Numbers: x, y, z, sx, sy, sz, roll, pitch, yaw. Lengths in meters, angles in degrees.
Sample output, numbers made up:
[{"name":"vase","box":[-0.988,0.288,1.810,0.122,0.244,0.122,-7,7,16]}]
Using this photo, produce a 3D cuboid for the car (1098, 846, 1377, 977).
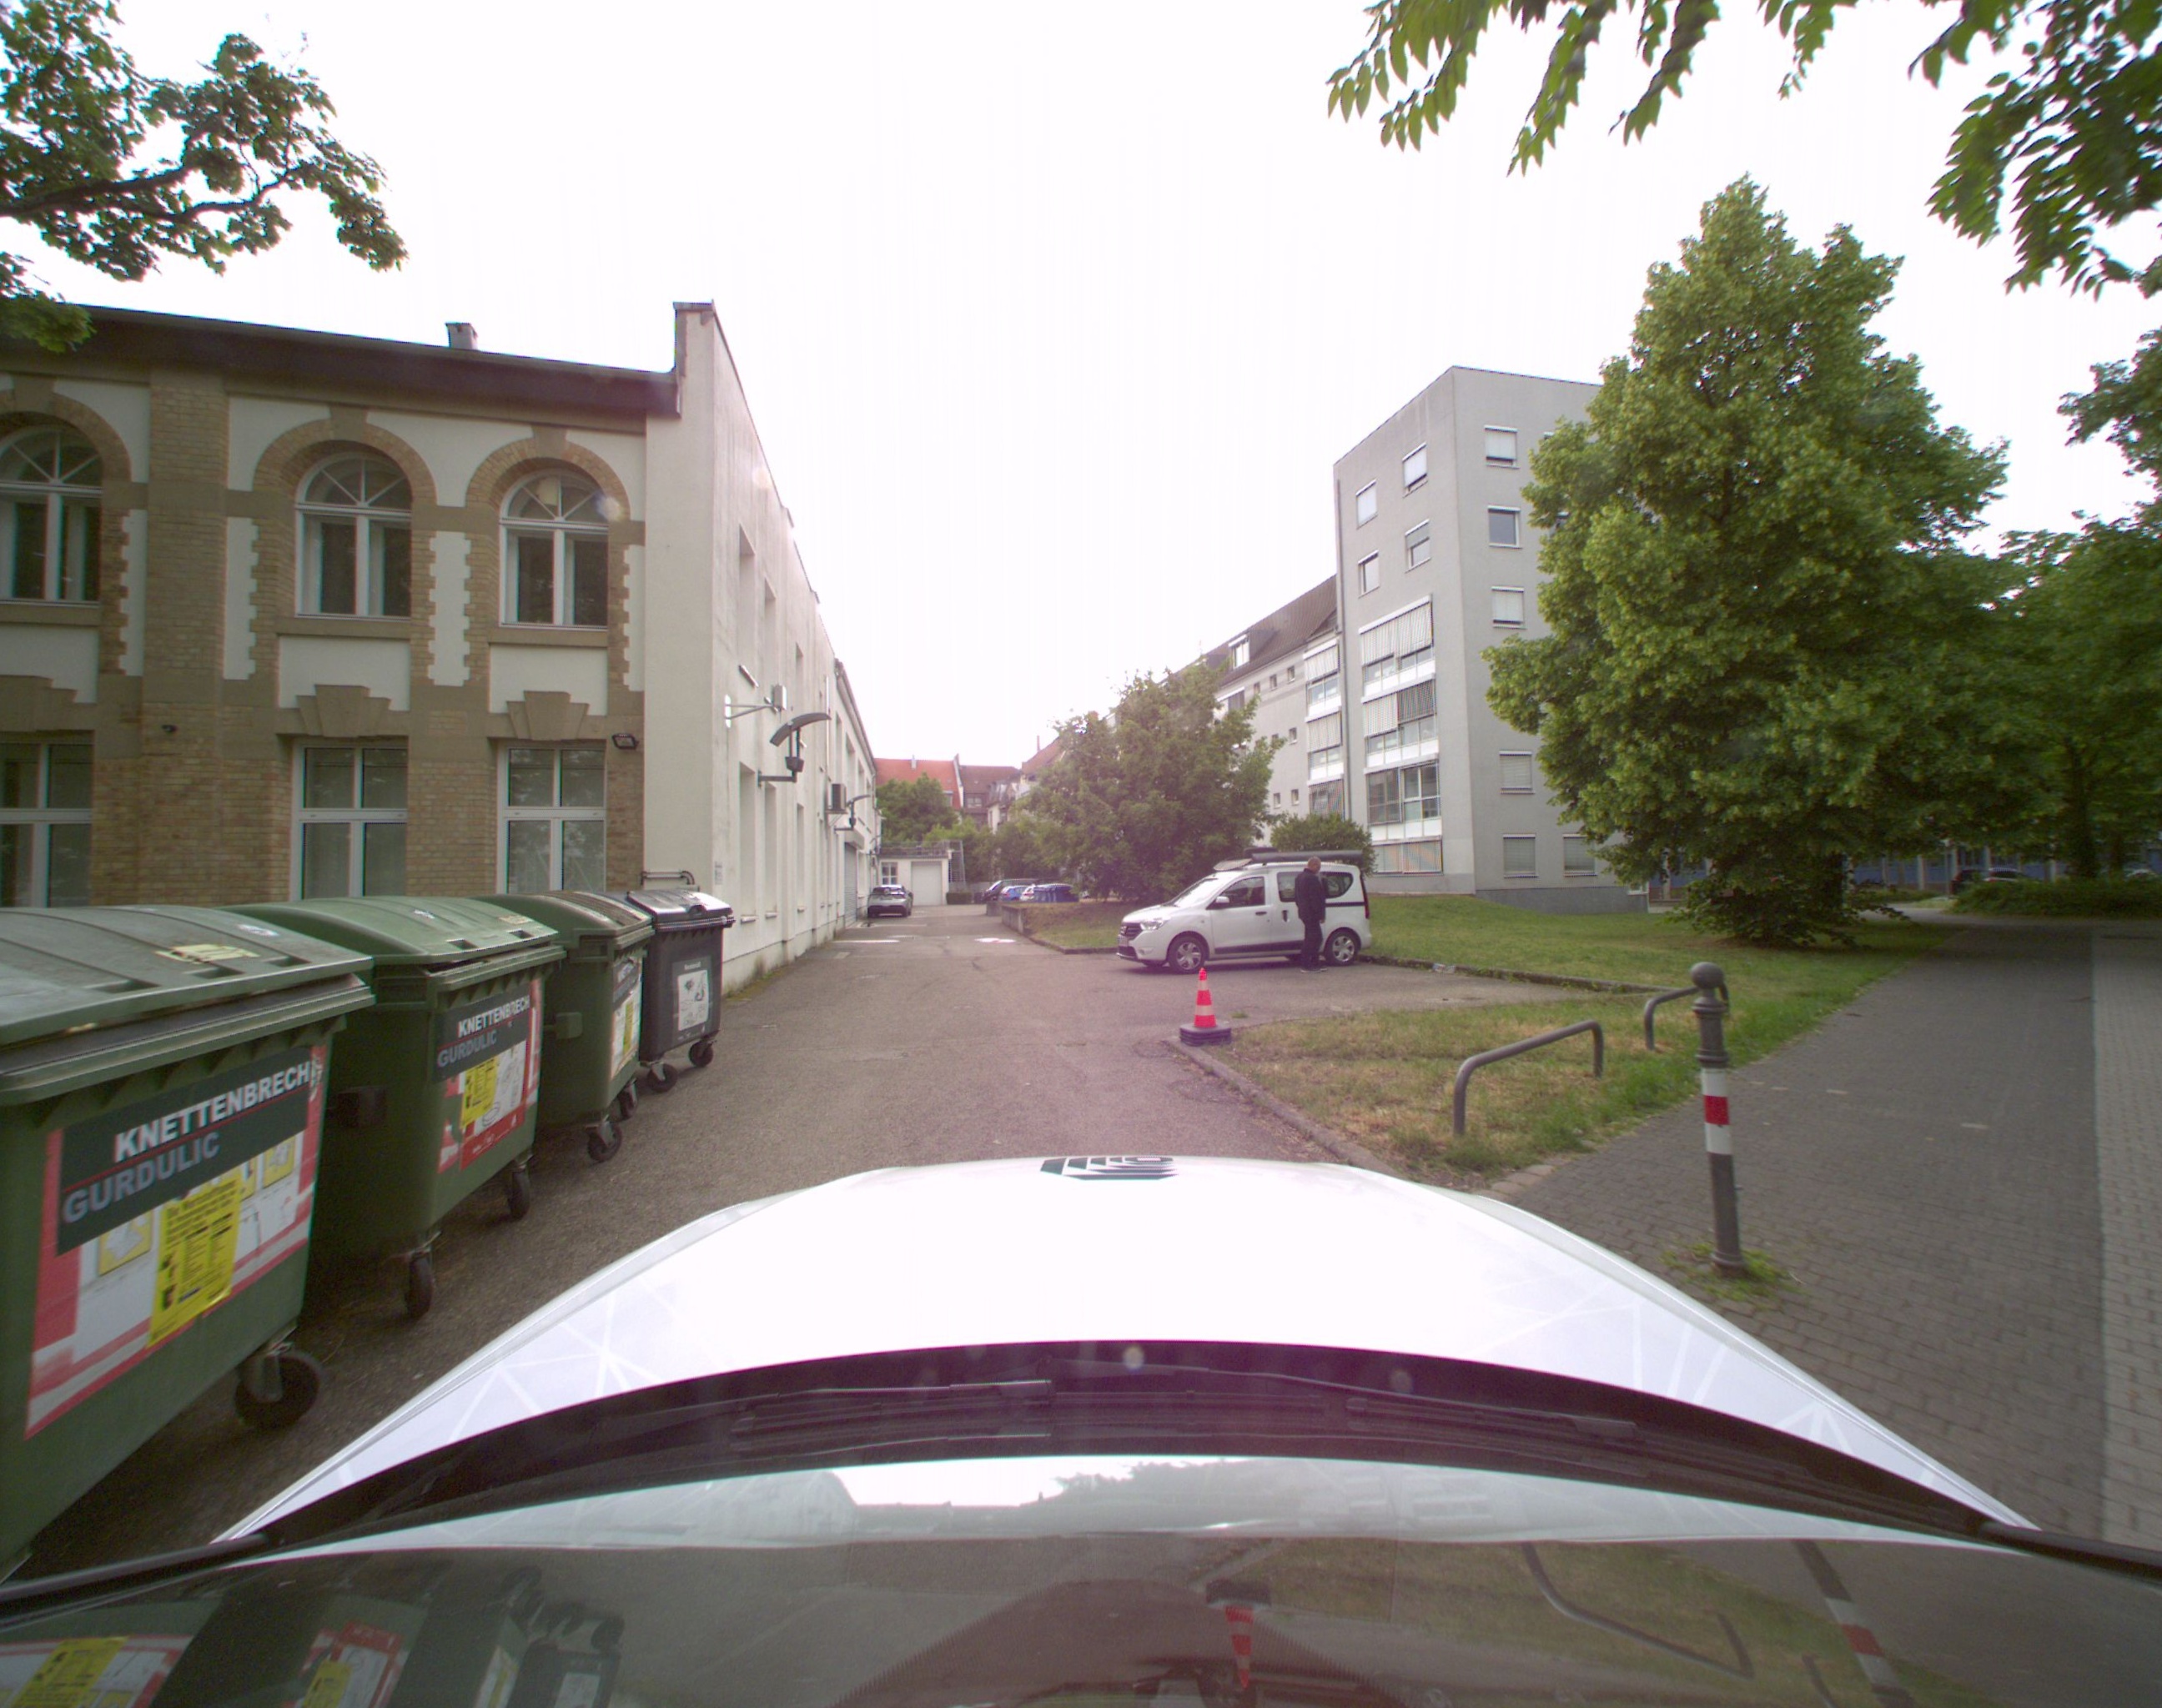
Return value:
[{"name":"car","box":[2.649,0.926,14.068,4.347,2.014,1.843,0,-4,-17]}]

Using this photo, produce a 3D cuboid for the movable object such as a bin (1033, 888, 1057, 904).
[{"name":"movable object such as a bin","box":[-1.594,1.868,36.149,0.965,0.679,0.867,0,-3,-11]}]

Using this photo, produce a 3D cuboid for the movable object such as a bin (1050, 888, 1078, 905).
[{"name":"movable object such as a bin","box":[-0.669,1.658,32.019,0.965,0.637,0.907,0,-3,-11]}]

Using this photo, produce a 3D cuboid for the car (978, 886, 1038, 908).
[{"name":"car","box":[-5.566,3.279,62.229,4.200,1.574,1.985,0,-2,-23]}]

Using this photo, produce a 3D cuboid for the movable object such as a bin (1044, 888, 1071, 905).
[{"name":"movable object such as a bin","box":[-0.977,1.730,33.205,0.965,0.637,0.907,0,-3,-11]}]

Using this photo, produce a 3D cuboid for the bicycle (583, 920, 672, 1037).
[{"name":"bicycle","box":[-4.969,1.310,9.018,0.395,1.065,1.819,0,-2,-14]}]

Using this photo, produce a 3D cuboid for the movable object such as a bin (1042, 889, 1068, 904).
[{"name":"movable object such as a bin","box":[-1.118,1.794,34.297,0.965,0.637,0.907,0,-3,-11]}]

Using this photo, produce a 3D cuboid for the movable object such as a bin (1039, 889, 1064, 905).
[{"name":"movable object such as a bin","box":[-1.274,1.873,35.268,0.965,0.679,0.808,0,-3,-11]}]

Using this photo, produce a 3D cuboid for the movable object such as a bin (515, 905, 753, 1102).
[{"name":"movable object such as a bin","box":[-3.318,1.058,6.222,1.049,1.265,1.354,-1,-2,0]}]

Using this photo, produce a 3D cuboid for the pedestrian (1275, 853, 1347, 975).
[{"name":"pedestrian","box":[3.574,0.922,12.691,0.755,1.809,0.694,-1,-4,-17]}]

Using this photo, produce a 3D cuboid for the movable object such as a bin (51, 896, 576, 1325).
[{"name":"movable object such as a bin","box":[-2.856,0.825,3.316,1.055,1.265,1.345,-1,-2,-18]}]

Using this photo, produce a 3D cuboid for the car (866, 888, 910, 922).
[{"name":"car","box":[-9.146,2.419,38.863,1.848,1.508,3.983,0,-3,-11]}]

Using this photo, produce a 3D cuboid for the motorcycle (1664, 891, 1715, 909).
[{"name":"motorcycle","box":[32.539,2.452,43.525,3.202,0.881,0.953,0,-2,-29]}]

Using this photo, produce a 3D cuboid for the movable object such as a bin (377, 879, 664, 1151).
[{"name":"movable object such as a bin","box":[-3.084,0.790,4.694,1.056,1.265,1.344,0,-2,-21]}]

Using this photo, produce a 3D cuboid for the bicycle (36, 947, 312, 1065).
[{"name":"bicycle","box":[-8.622,1.403,7.896,0.616,0.814,1.940,-1,-2,-6]}]

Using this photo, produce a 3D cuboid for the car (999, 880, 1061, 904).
[{"name":"car","box":[-3.563,2.641,56.658,4.004,1.574,1.573,0,-2,-23]}]

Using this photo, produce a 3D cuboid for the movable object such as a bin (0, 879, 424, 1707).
[{"name":"movable object such as a bin","box":[-2.470,0.803,1.860,1.055,1.456,1.345,0,-3,-18]}]

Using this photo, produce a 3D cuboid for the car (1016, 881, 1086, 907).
[{"name":"car","box":[-1.922,2.533,51.942,4.004,1.574,1.985,0,-2,-23]}]
